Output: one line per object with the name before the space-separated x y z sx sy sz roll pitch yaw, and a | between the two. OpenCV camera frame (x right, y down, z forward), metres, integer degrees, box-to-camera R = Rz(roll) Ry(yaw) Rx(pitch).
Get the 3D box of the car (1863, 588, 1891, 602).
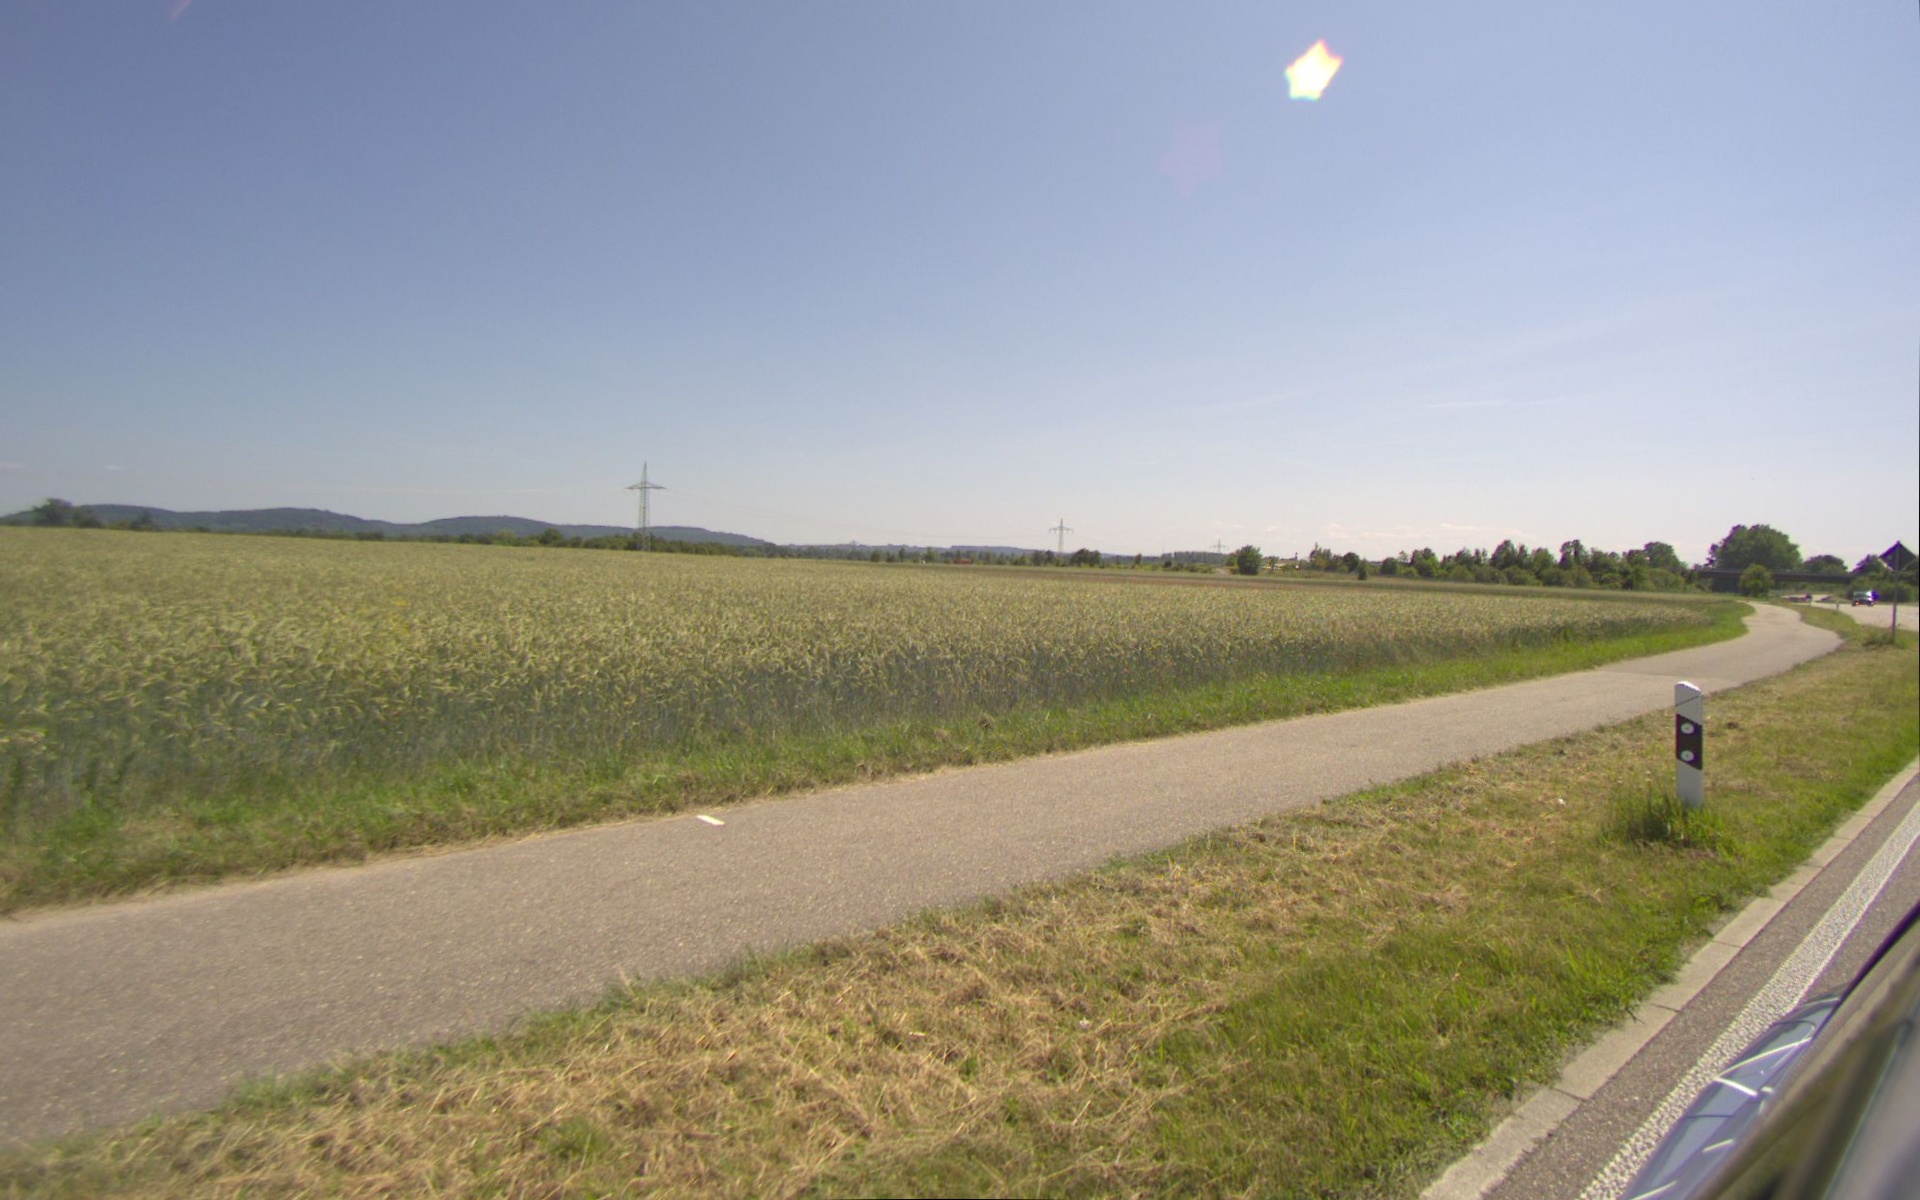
car | 113.810 -0.625 125.641 1.973 1.616 5.332 1 1 36
